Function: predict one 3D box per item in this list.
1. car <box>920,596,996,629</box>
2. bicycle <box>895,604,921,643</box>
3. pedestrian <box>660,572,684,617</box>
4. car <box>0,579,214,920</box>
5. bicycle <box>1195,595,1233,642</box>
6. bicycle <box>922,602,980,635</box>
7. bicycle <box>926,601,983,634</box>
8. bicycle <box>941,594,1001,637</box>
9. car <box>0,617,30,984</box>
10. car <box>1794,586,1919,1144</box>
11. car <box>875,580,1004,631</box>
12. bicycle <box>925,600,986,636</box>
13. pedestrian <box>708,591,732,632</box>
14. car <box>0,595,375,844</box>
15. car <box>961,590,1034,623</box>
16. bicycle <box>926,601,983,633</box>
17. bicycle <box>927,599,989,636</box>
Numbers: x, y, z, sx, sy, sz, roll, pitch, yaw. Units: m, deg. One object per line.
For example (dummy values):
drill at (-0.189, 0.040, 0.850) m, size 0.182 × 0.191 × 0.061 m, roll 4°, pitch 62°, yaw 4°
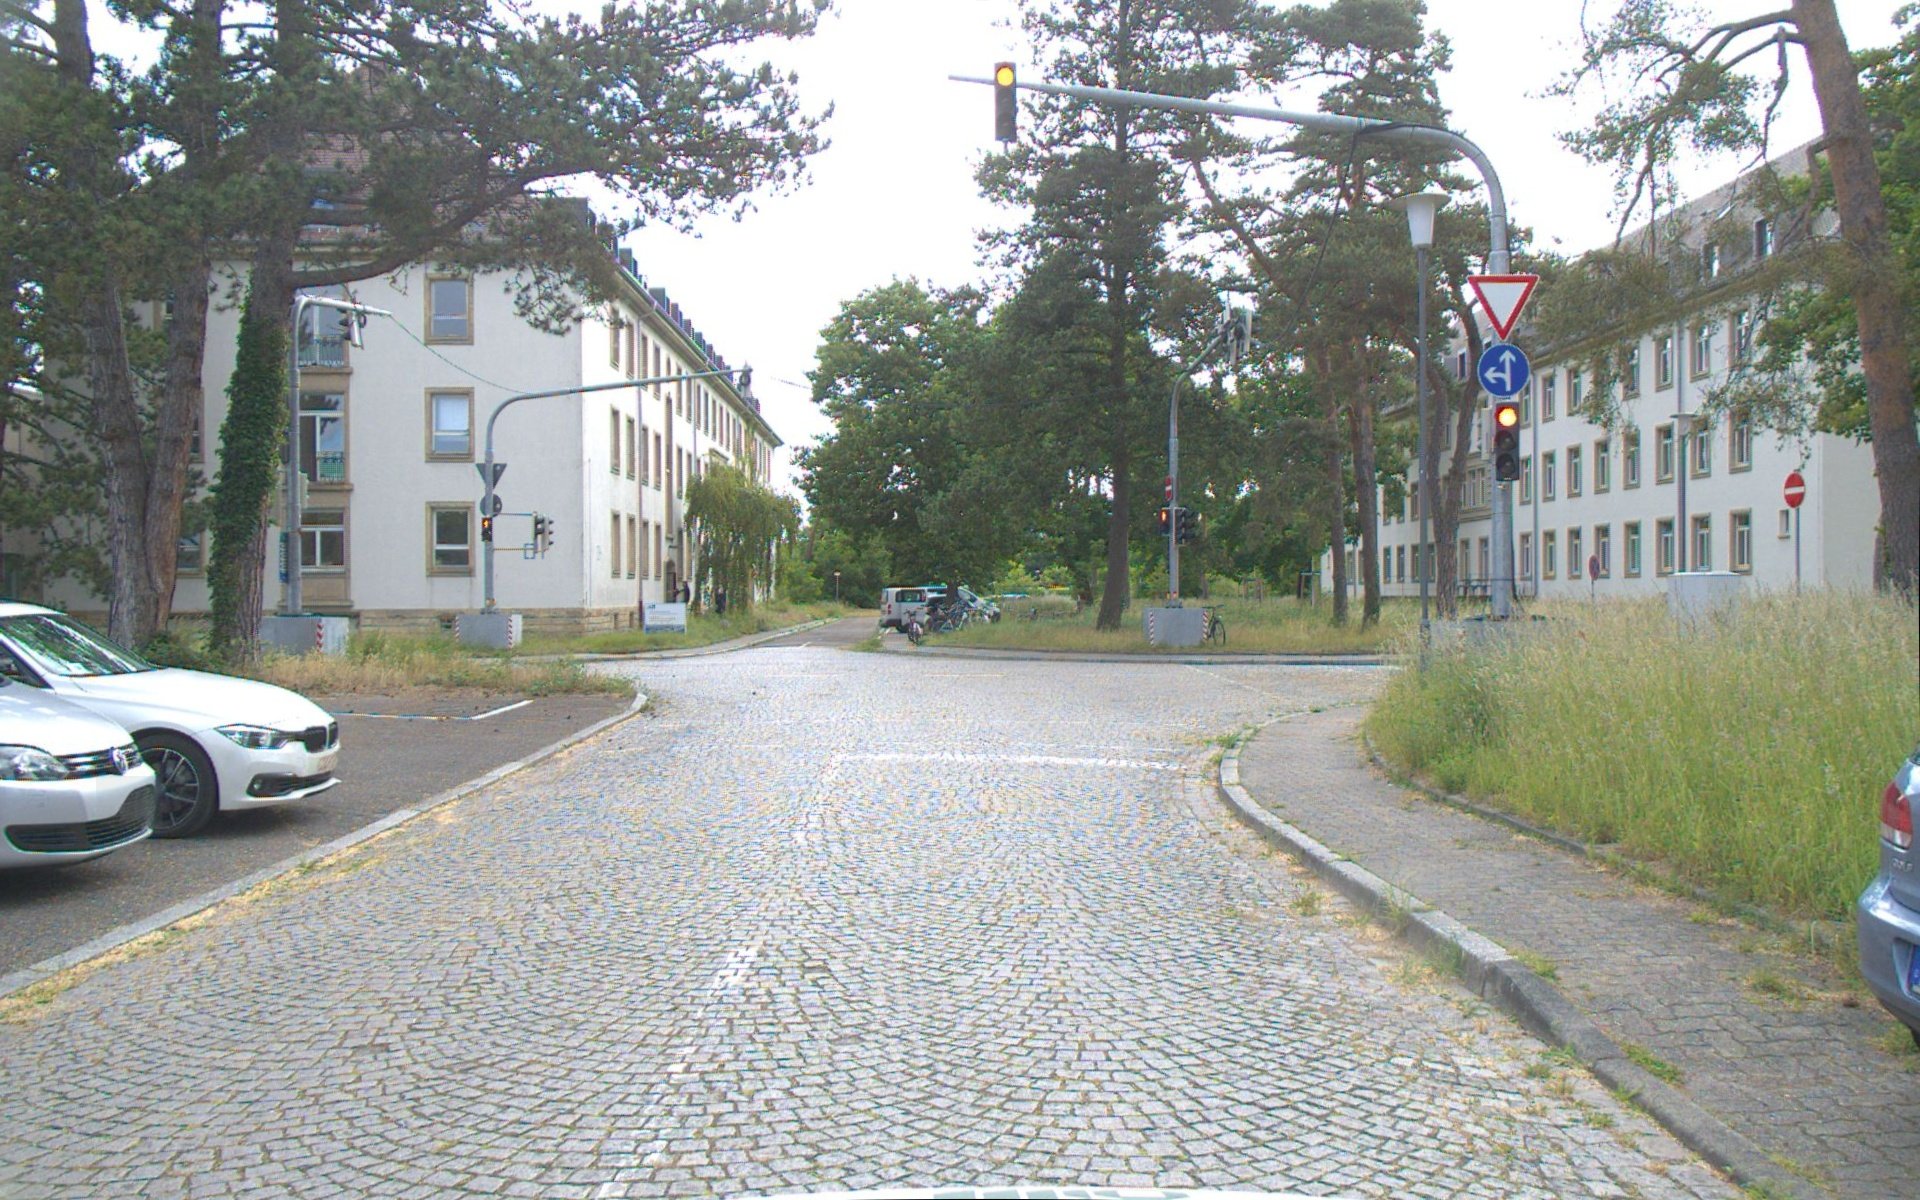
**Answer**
car at (-0.101, 0.510, 67.626) m, size 2.949 × 1.290 × 1.533 m, roll -1°, pitch 0°, yaw -7°
bicycle at (-1.566, 0.693, 49.747) m, size 0.591 × 1.152 × 1.958 m, roll 0°, pitch 0°, yaw -7°
pedestrian at (-11.903, -0.227, 68.387) m, size 0.766 × 1.869 × 0.732 m, roll -1°, pitch 0°, yaw -33°
car at (-6.194, 0.648, 8.537) m, size 3.870 × 1.590 × 1.649 m, roll 2°, pitch 0°, yaw -5°
bicycle at (6.298, 0.449, 41.058) m, size 0.574 × 1.125 × 1.961 m, roll 0°, pitch 0°, yaw -2°
bicycle at (-0.289, 0.607, 55.098) m, size 1.935 × 1.088 × 0.582 m, roll -1°, pitch 0°, yaw -32°
bicycle at (-0.174, 0.603, 56.451) m, size 1.935 × 1.088 × 0.582 m, roll -1°, pitch 0°, yaw -32°
bicycle at (0.361, 0.501, 54.464) m, size 1.918 × 1.408 × 0.587 m, roll 0°, pitch 0°, yaw -9°
car at (-5.576, 0.731, 5.773) m, size 3.672 × 1.453 × 1.581 m, roll 2°, pitch 0°, yaw -5°
car at (4.505, 0.654, 4.265) m, size 3.847 × 1.503 × 1.642 m, roll -2°, pitch 0°, yaw 0°
car at (-0.887, 0.218, 71.051) m, size 5.264 × 1.958 × 2.020 m, roll -2°, pitch 0°, yaw -11°
bicycle at (-0.148, 0.589, 53.618) m, size 1.918 × 1.136 × 0.587 m, roll 0°, pitch 0°, yaw -9°
pedestrian at (-9.818, 0.472, 67.640) m, size 0.757 × 1.647 × 0.741 m, roll -1°, pitch 0°, yaw 9°
car at (-6.171, 0.719, 11.074) m, size 3.868 × 1.446 × 1.649 m, roll 2°, pitch 0°, yaw -2°
car at (1.695, 0.301, 75.006) m, size 3.168 × 1.441 × 1.724 m, roll -1°, pitch 0°, yaw -4°
bicycle at (-0.183, 0.583, 57.806) m, size 1.931 × 1.088 × 0.583 m, roll -1°, pitch 0°, yaw -27°
bicycle at (-0.071, 0.568, 52.987) m, size 1.918 × 1.152 × 0.587 m, roll 0°, pitch 0°, yaw -9°
